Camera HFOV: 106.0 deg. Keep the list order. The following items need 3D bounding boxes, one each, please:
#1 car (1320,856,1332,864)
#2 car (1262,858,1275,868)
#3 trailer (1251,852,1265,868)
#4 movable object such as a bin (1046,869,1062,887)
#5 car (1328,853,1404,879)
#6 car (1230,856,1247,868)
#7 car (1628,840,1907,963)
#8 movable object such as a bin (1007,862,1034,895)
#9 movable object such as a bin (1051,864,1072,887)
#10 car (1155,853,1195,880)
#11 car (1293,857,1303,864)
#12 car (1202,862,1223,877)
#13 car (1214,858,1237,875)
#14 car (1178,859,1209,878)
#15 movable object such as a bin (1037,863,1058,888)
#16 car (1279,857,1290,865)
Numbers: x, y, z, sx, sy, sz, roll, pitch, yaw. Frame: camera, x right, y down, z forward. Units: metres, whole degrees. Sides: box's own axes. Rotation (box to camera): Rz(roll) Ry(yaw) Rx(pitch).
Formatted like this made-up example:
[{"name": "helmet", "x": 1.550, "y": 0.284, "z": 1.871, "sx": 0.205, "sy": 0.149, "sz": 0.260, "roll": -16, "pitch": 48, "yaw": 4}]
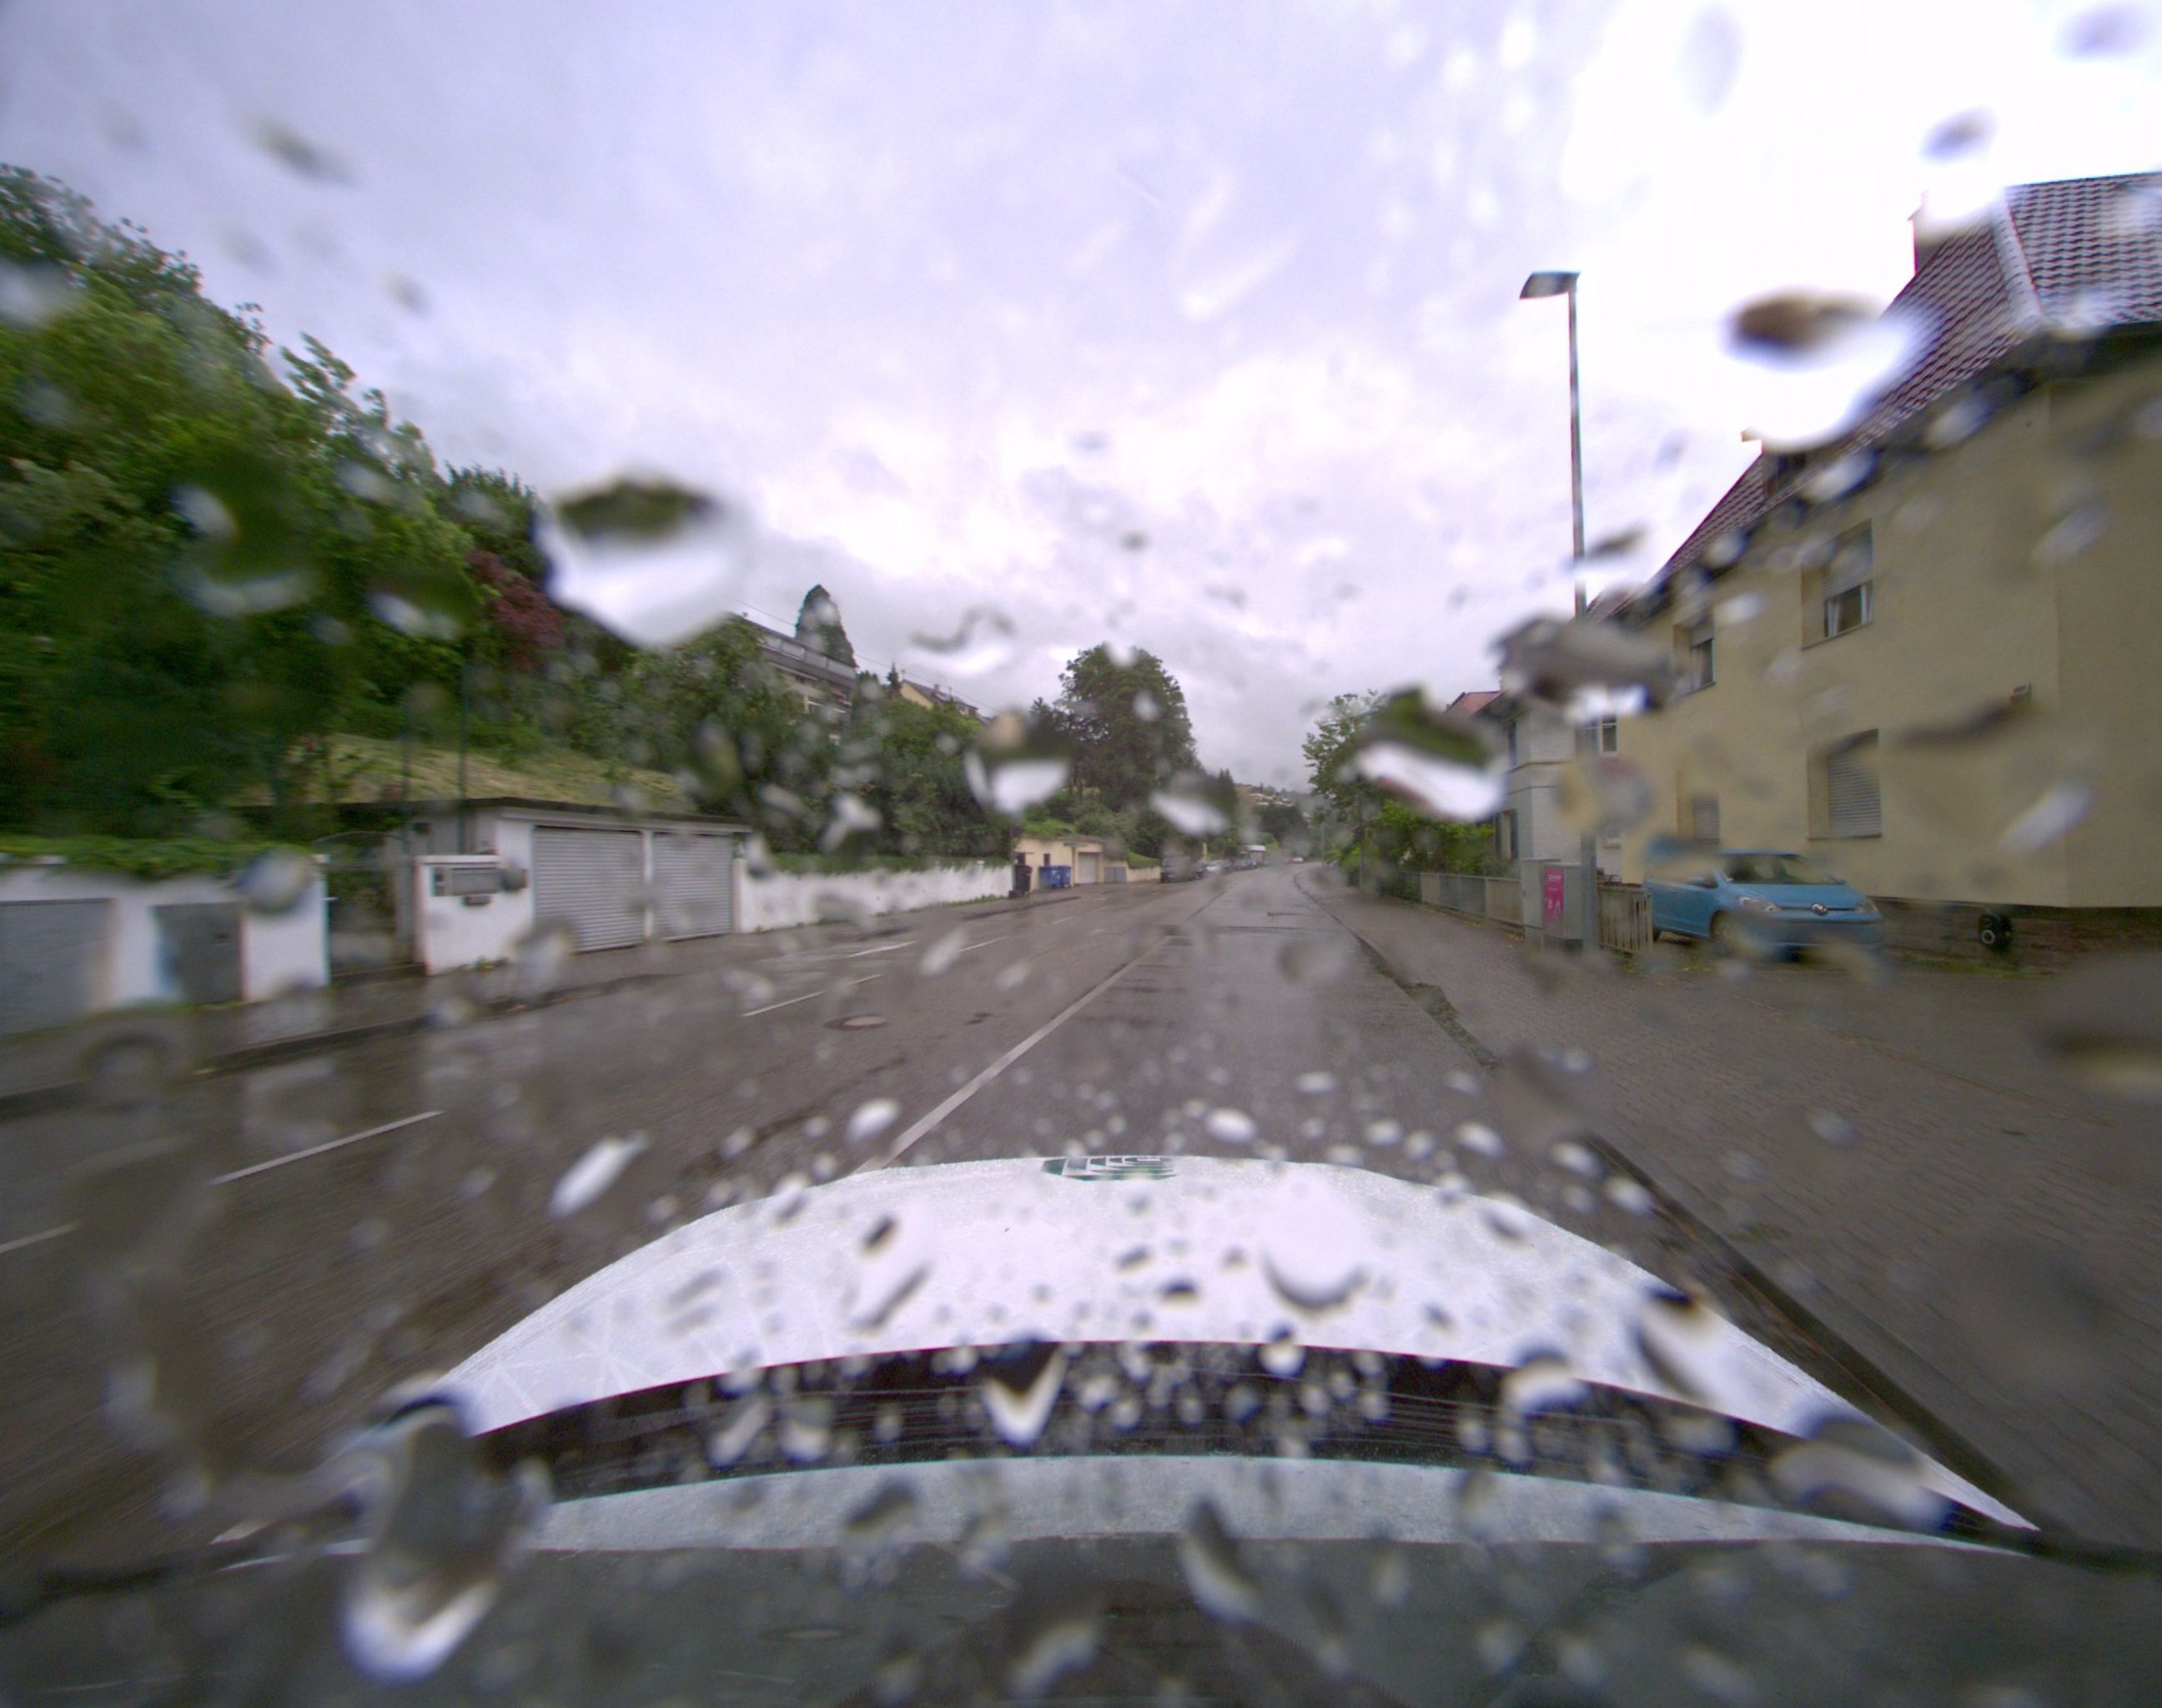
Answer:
[{"name": "car", "x": 48.351, "y": 1.213, "z": 160.669, "sx": 1.773, "sy": 1.460, "sz": 4.332, "roll": -1, "pitch": -1, "yaw": 23}, {"name": "car", "x": 32.443, "y": 1.599, "z": 140.870, "sx": 1.741, "sy": 1.539, "sz": 3.775, "roll": -5, "pitch": -1, "yaw": 19}, {"name": "trailer", "x": 27.624, "y": 0.953, "z": 127.179, "sx": 1.523, "sy": 2.399, "sz": 3.089, "roll": -4, "pitch": -1, "yaw": 22}, {"name": "movable object such as a bin", "x": -1.570, "y": 1.411, "z": 47.493, "sx": 0.729, "sy": 1.042, "sz": 0.610, "roll": -1, "pitch": -1, "yaw": 18}, {"name": "car", "x": 17.159, "y": 0.733, "z": 49.141, "sx": 1.782, "sy": 1.457, "sz": 3.952, "roll": -1, "pitch": 0, "yaw": -42}, {"name": "car", "x": 21.305, "y": 1.029, "z": 110.082, "sx": 1.771, "sy": 1.455, "sz": 4.776, "roll": -4, "pitch": -1, "yaw": 17}, {"name": "car", "x": 9.491, "y": 0.589, "z": 11.652, "sx": 1.657, "sy": 1.471, "sz": 3.538, "roll": 0, "pitch": -1, "yaw": 14}, {"name": "movable object such as a bin", "x": -2.702, "y": 1.100, "z": 36.592, "sx": 0.926, "sy": 1.445, "sz": 0.864, "roll": 2, "pitch": -1, "yaw": 12}, {"name": "movable object such as a bin", "x": -1.162, "y": 1.270, "z": 48.703, "sx": 0.814, "sy": 1.314, "sz": 1.408, "roll": -1, "pitch": 0, "yaw": 18}, {"name": "car", "x": 7.256, "y": 0.950, "z": 62.174, "sx": 2.142, "sy": 1.919, "sz": 5.345, "roll": -3, "pitch": -1, "yaw": 16}, {"name": "car", "x": 48.007, "y": 1.366, "z": 180.104, "sx": 1.741, "sy": 1.498, "sz": 4.241, "roll": -3, "pitch": -1, "yaw": 21}, {"name": "car", "x": 13.466, "y": 1.574, "z": 83.076, "sx": 1.704, "sy": 1.365, "sz": 4.099, "roll": -4, "pitch": 0, "yaw": 14}, {"name": "car", "x": 16.554, "y": 1.412, "z": 92.950, "sx": 1.859, "sy": 1.626, "sz": 4.614, "roll": -5, "pitch": -1, "yaw": 17}, {"name": "car", "x": 10.050, "y": 1.299, "z": 72.378, "sx": 1.893, "sy": 1.480, "sz": 4.776, "roll": -5, "pitch": -2, "yaw": 17}, {"name": "movable object such as a bin", "x": -1.917, "y": 1.247, "z": 46.550, "sx": 0.814, "sy": 1.382, "sz": 1.140, "roll": -1, "pitch": 0, "yaw": 18}, {"name": "car", "x": 40.527, "y": 1.433, "z": 162.331, "sx": 1.741, "sy": 1.402, "sz": 3.789, "roll": -4, "pitch": -1, "yaw": 20}]
